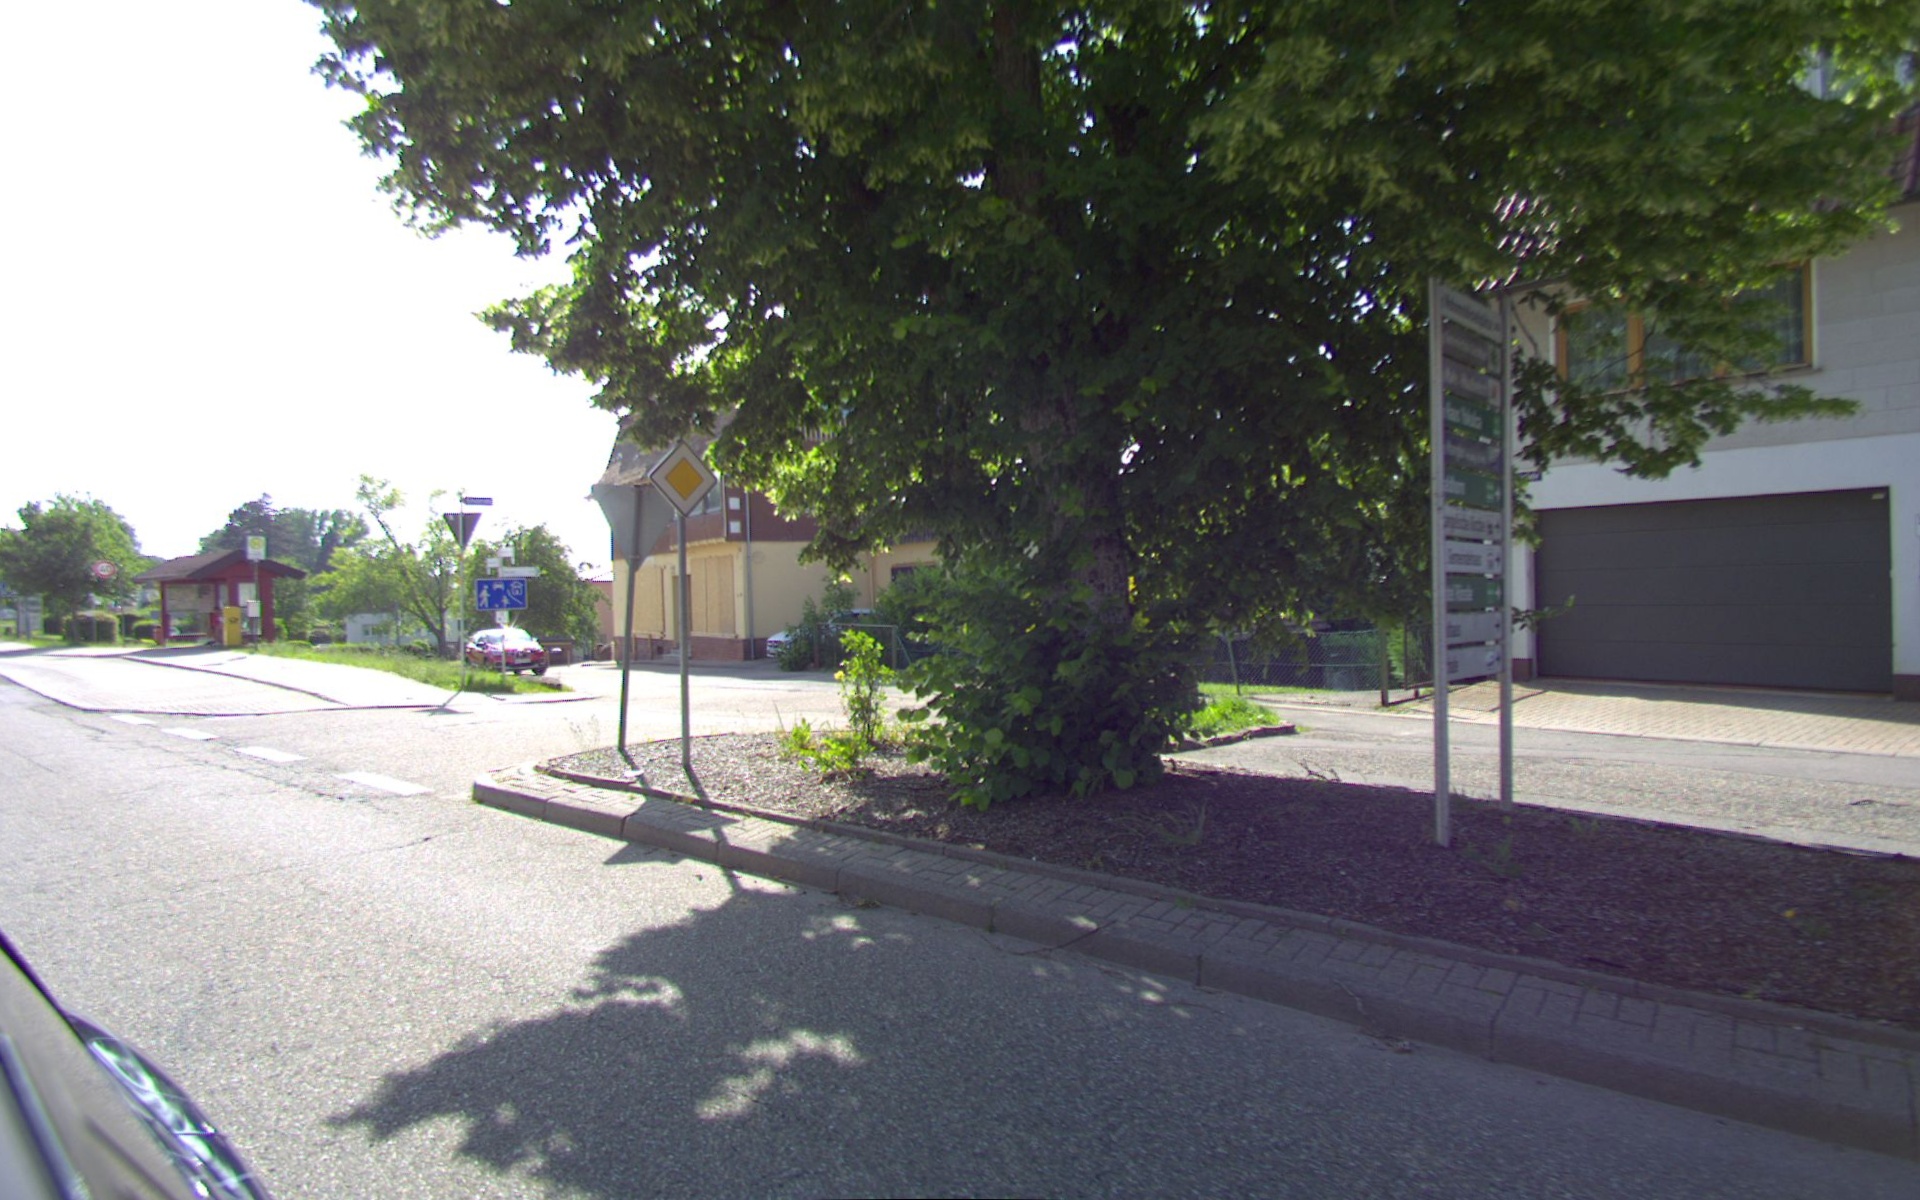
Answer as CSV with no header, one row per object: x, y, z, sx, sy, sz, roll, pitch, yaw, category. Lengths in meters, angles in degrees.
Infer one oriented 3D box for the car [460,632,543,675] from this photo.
-15.067,1.704,33.175,1.698,1.307,4.009,1,-2,-36,car

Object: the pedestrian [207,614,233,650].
-26.033,1.125,35.583,0.423,1.262,0.623,-1,-2,37,pedestrian

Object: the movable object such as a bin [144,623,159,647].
-29.200,1.273,36.561,0.484,0.843,0.302,-1,-1,37,movable object such as a bin

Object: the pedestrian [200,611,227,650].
-26.495,1.093,35.913,0.673,1.375,0.611,-3,-3,38,pedestrian

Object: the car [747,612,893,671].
-4.351,1.255,31.907,4.249,1.522,1.803,-3,3,-41,car
